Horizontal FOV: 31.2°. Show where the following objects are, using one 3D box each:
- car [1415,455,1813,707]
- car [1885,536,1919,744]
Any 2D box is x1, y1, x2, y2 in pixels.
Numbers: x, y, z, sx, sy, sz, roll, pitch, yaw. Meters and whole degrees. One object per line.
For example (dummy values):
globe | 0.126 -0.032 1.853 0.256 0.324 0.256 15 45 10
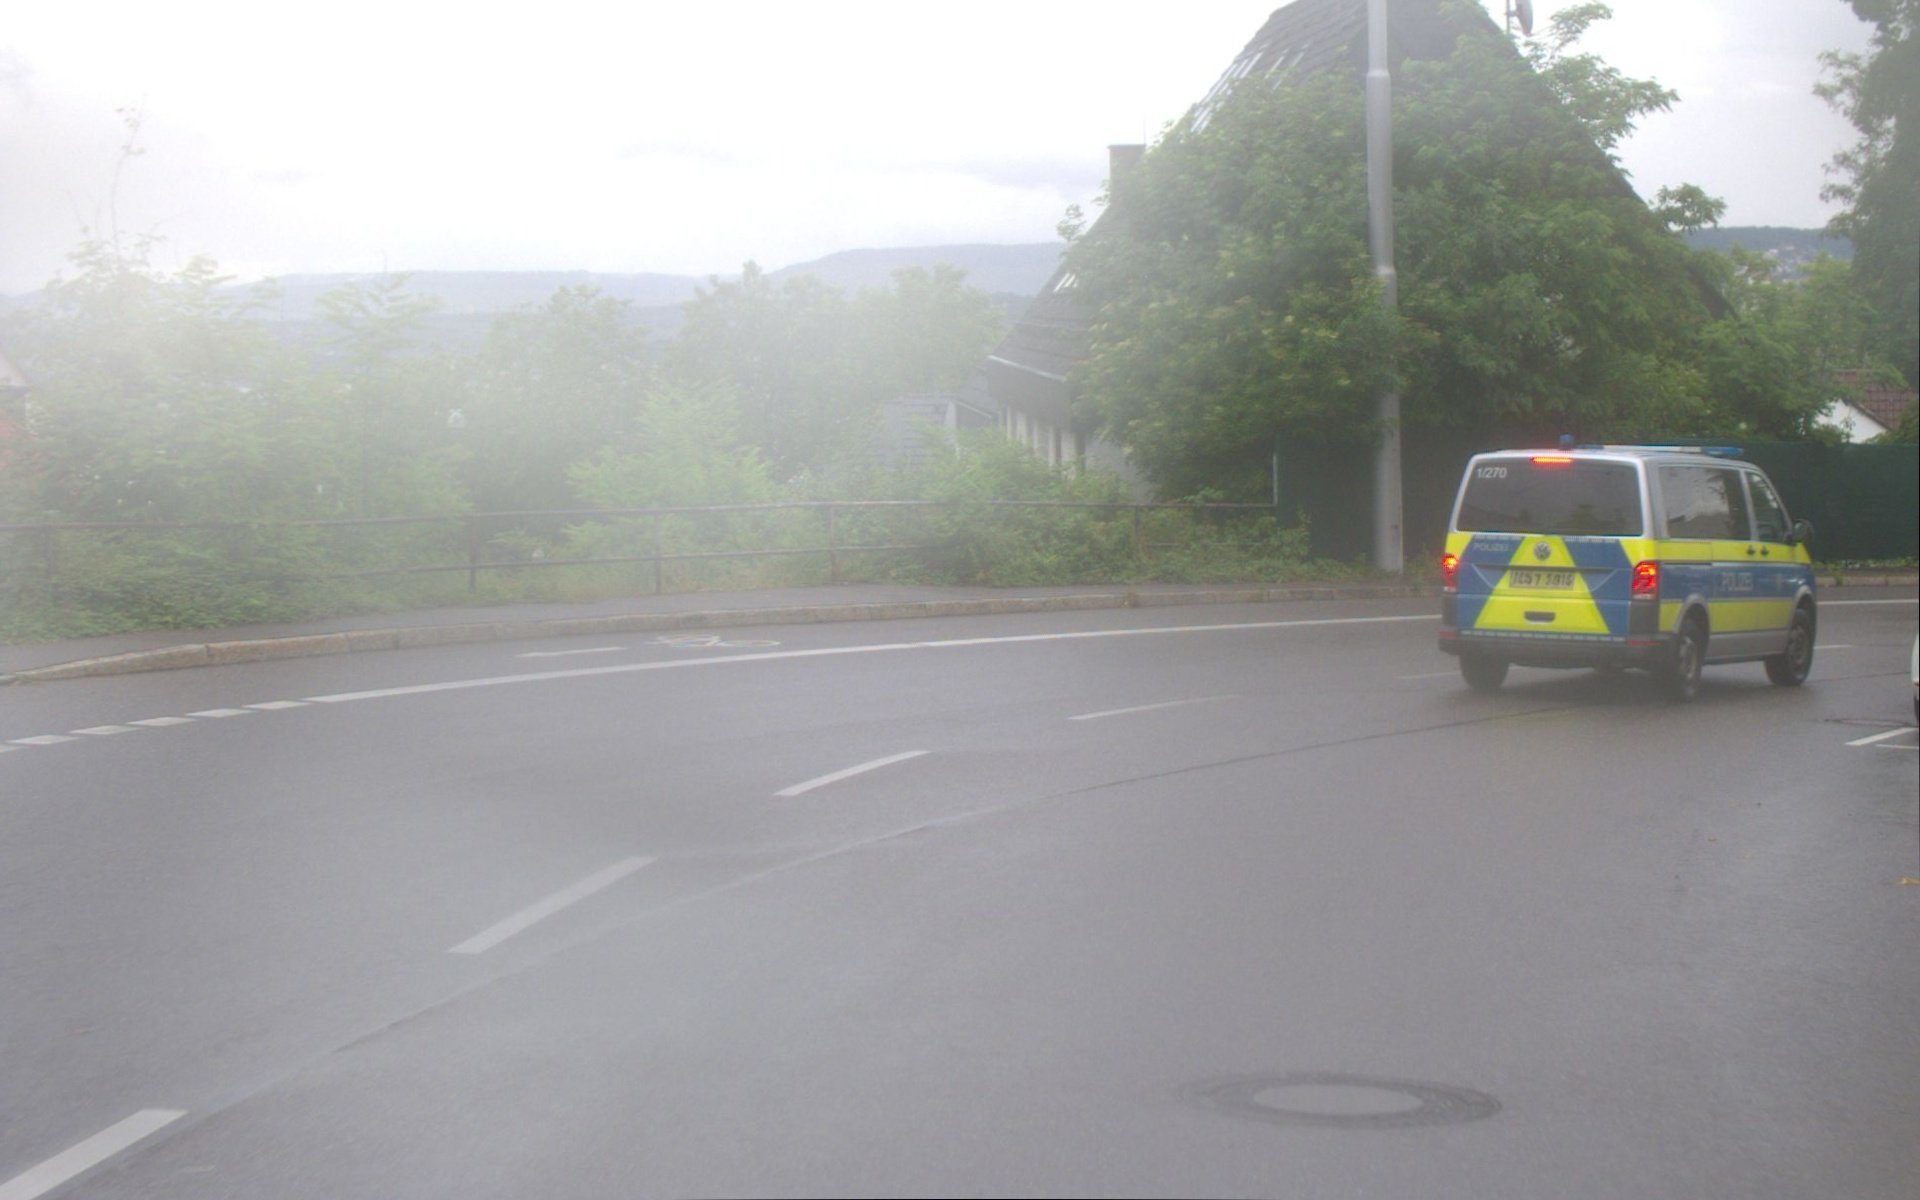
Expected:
car | 5.474 -0.210 28.307 1.996 1.887 4.563 1 2 27
car | 8.292 0.253 25.317 1.793 1.441 4.099 1 2 31
